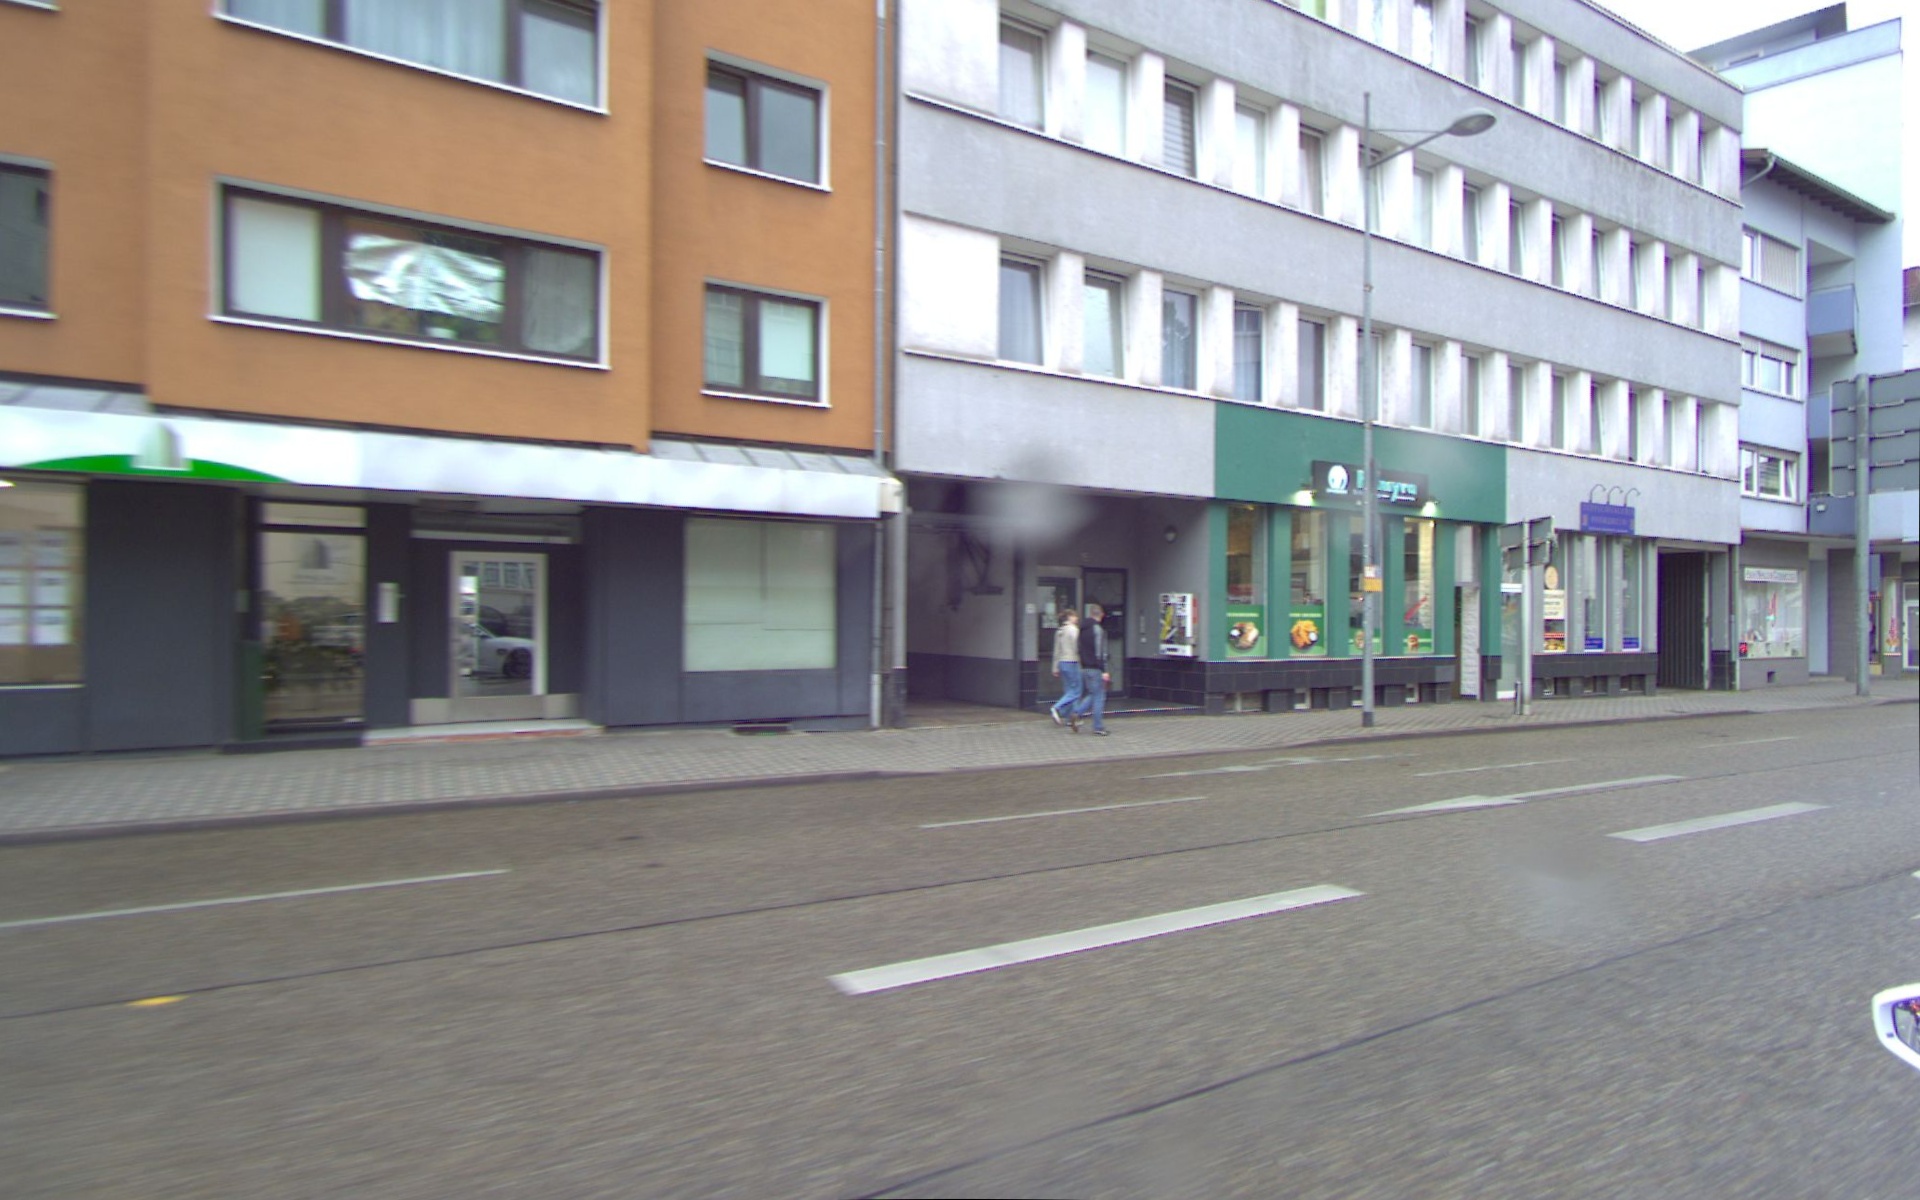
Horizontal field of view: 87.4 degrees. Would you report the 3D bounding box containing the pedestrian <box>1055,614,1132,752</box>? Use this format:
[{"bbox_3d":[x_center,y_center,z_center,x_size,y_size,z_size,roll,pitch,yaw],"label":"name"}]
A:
[{"bbox_3d":[1.836,1.115,13.842,0.817,1.812,0.572,1,2,-29],"label":"pedestrian"}]

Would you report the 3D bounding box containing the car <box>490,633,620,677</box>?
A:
[{"bbox_3d":[-14.186,1.925,35.240,3.919,1.464,1.832,-1,-3,14],"label":"car"}]

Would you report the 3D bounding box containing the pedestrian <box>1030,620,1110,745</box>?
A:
[{"bbox_3d":[1.584,1.163,14.466,0.898,1.698,0.627,1,2,-30],"label":"pedestrian"}]
